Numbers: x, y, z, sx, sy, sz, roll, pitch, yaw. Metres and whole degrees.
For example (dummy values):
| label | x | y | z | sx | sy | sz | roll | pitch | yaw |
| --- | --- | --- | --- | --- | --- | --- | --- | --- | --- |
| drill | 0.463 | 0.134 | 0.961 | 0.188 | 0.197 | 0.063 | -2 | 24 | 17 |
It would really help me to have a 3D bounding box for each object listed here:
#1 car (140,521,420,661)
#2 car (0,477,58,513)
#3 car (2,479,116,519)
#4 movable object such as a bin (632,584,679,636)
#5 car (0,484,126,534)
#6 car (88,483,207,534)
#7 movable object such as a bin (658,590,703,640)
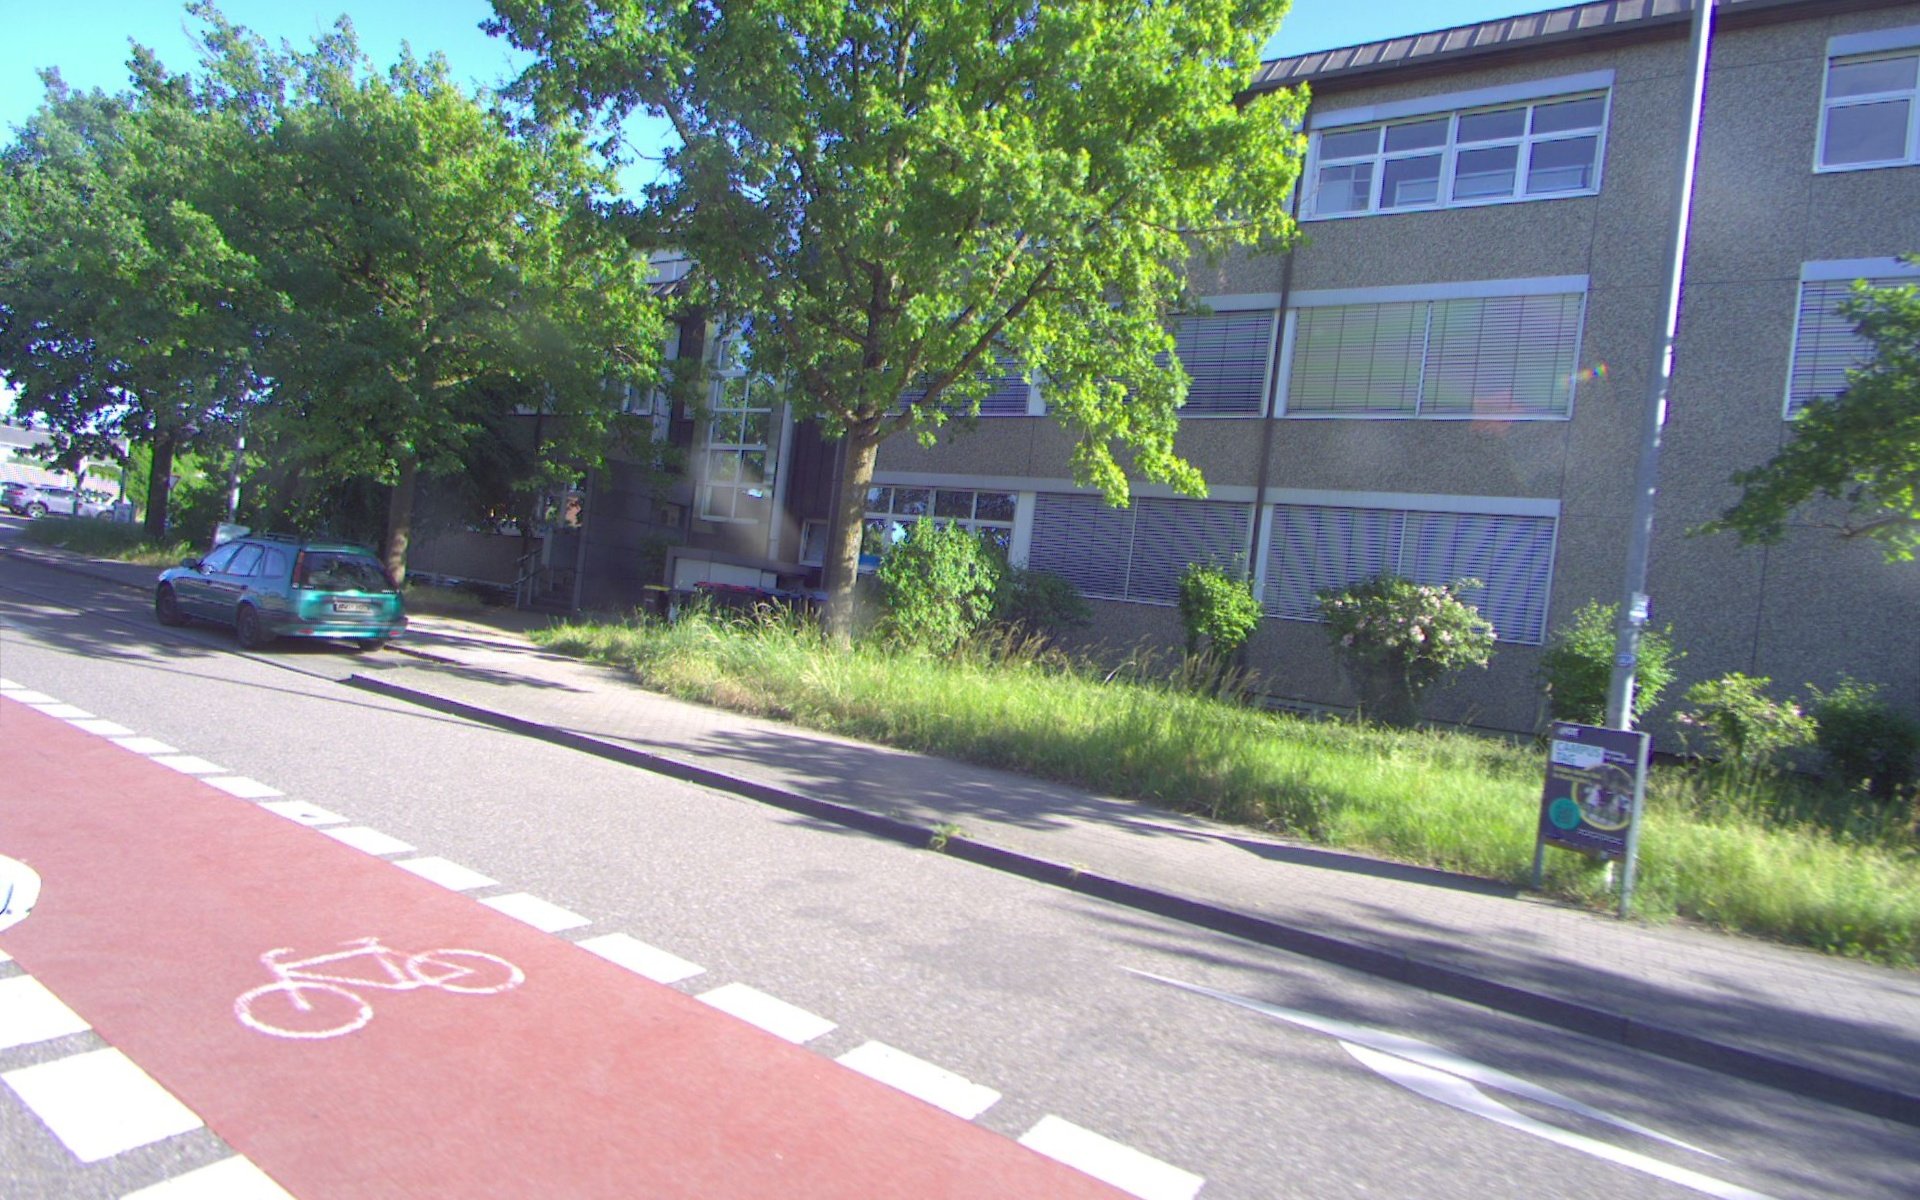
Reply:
| label | x | y | z | sx | sy | sz | roll | pitch | yaw |
| --- | --- | --- | --- | --- | --- | --- | --- | --- | --- |
| car | -9.386 | -0.151 | 13.790 | 4.135 | 1.447 | 1.594 | 6 | 1 | 32 |
| car | -51.503 | -5.834 | 53.869 | 1.547 | 1.476 | 4.426 | 6 | -3 | 28 |
| car | -47.990 | -5.377 | 53.696 | 1.547 | 1.317 | 4.172 | 6 | -3 | 28 |
| movable object such as a bin | -6.804 | 0.229 | 22.496 | 0.571 | 1.045 | 0.713 | 7 | 0 | 31 |
| car | -41.423 | -4.173 | 46.328 | 1.732 | 1.496 | 4.234 | 6 | -3 | 27 |
| car | -31.039 | -3.466 | 38.565 | 1.433 | 1.310 | 3.412 | 7 | -2 | 6 |
| movable object such as a bin | -6.170 | 0.334 | 22.189 | 0.566 | 1.019 | 0.629 | 6 | -2 | 31 |
